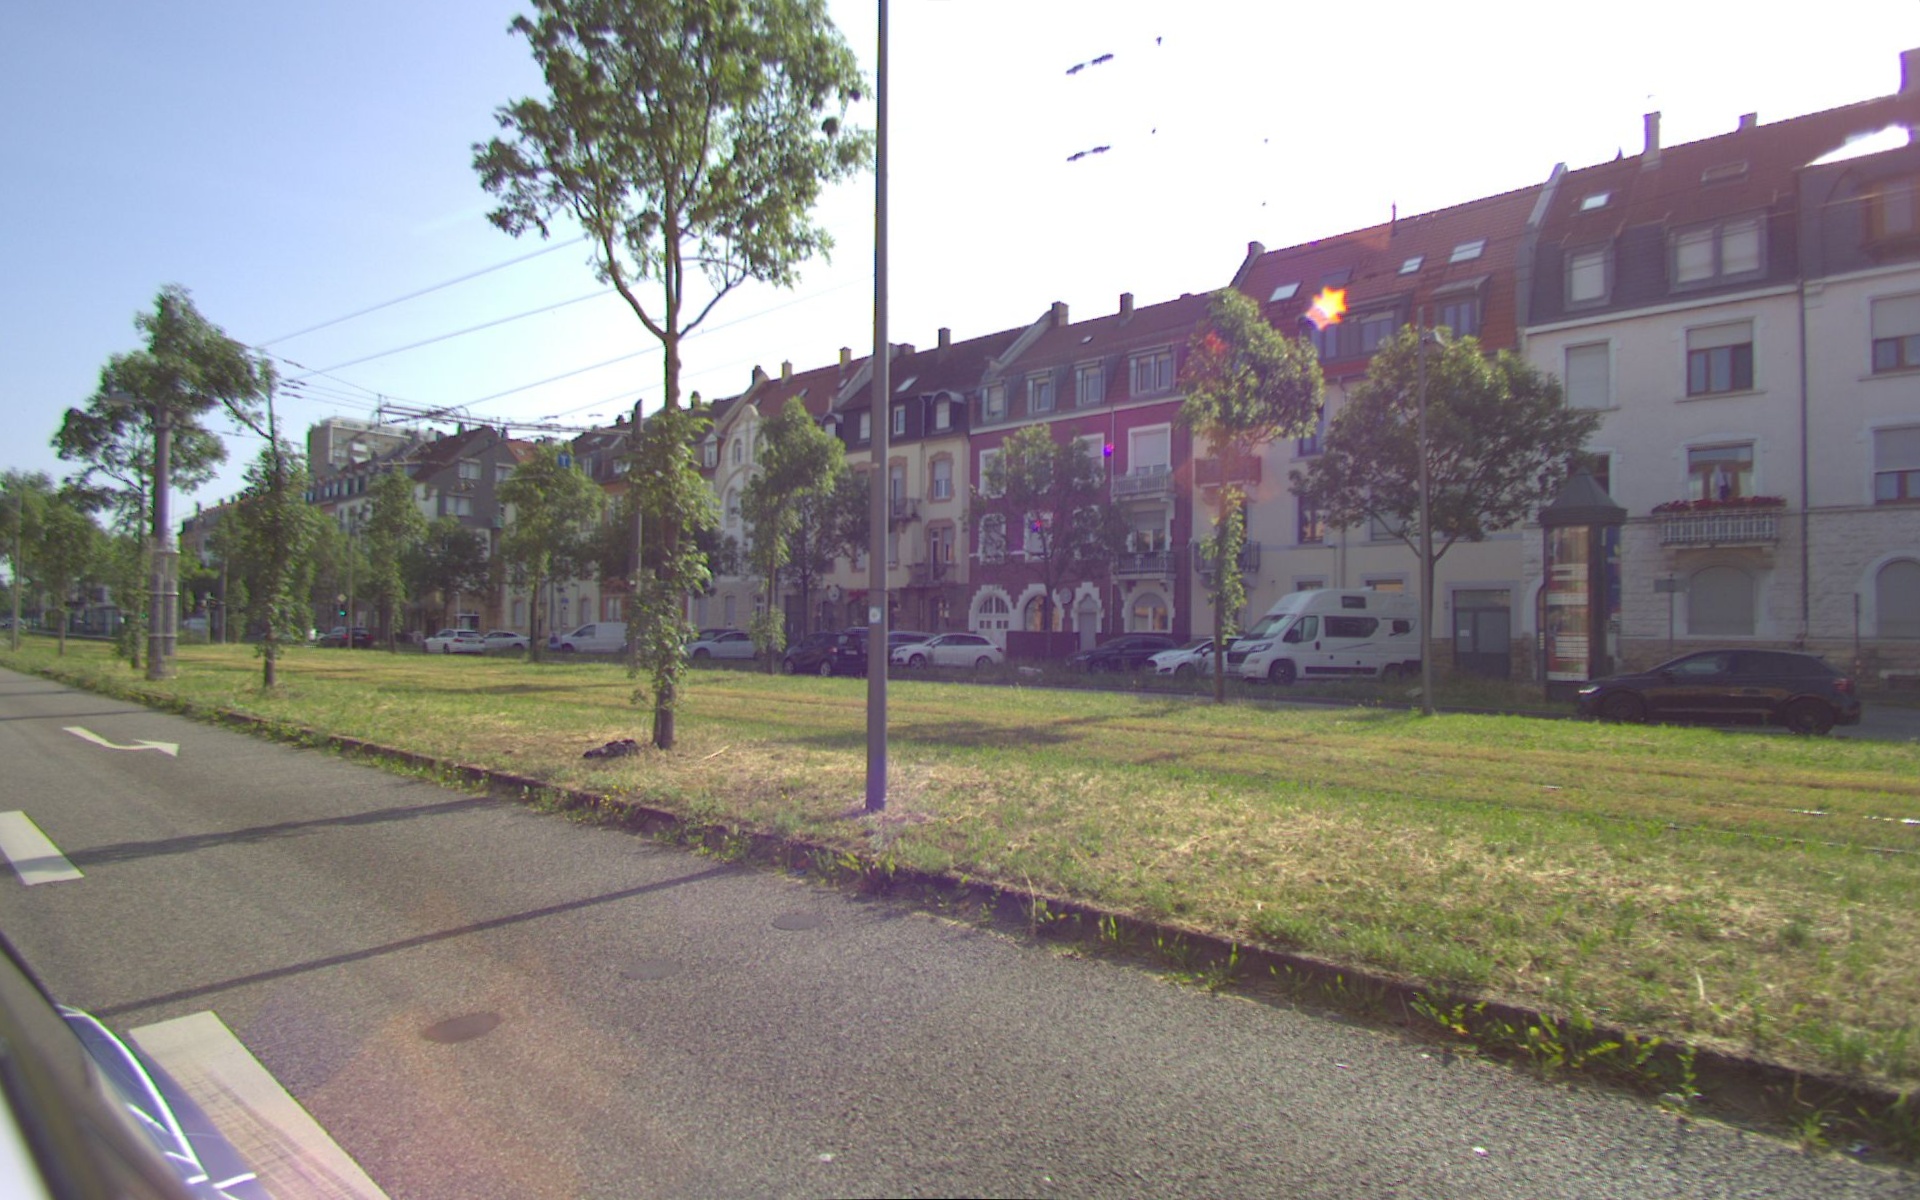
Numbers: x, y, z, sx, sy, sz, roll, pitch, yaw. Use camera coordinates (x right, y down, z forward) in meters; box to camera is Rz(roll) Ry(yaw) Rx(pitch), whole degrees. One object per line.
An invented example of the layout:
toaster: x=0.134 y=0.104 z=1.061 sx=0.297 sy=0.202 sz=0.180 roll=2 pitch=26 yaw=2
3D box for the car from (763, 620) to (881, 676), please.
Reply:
car: x=-4.579 y=1.517 z=33.312 sx=4.001 sy=1.668 sz=1.745 roll=0 pitch=0 yaw=44

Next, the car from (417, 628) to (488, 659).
car: x=-26.944 y=2.283 z=53.651 sx=4.650 sy=1.470 sz=1.926 roll=0 pitch=0 yaw=44

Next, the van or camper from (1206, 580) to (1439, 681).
van or camper: x=10.052 y=0.774 z=28.179 sx=5.827 sy=2.593 sz=2.205 roll=-1 pitch=0 yaw=-14

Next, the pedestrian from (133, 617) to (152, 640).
pedestrian: x=-61.795 y=2.165 z=76.492 sx=0.852 sy=1.667 sz=0.875 roll=0 pitch=-2 yaw=39

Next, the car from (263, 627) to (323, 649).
car: x=-57.965 y=3.272 z=88.004 sx=3.933 sy=1.739 sz=2.005 roll=-1 pitch=0 yaw=-14

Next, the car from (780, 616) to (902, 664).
car: x=-4.816 y=1.569 z=41.006 sx=4.567 sy=1.756 sz=1.840 roll=-1 pitch=0 yaw=-24

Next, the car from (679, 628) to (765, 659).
car: x=-10.611 y=1.933 z=45.160 sx=3.625 sy=1.251 sz=1.667 roll=-1 pitch=0 yaw=-14

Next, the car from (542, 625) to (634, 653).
car: x=-20.727 y=2.163 z=56.526 sx=4.621 sy=1.358 sz=1.862 roll=-1 pitch=0 yaw=-14

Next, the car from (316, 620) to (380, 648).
car: x=-39.411 y=2.159 z=65.155 sx=5.377 sy=1.642 sz=1.973 roll=0 pitch=0 yaw=41

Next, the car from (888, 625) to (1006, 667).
car: x=-0.482 y=1.636 z=36.498 sx=3.947 sy=1.326 sz=1.667 roll=-1 pitch=0 yaw=-14

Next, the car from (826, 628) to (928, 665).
car: x=-3.155 y=1.732 z=38.418 sx=3.625 sy=1.251 sz=1.667 roll=-1 pitch=0 yaw=-14

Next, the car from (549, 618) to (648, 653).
car: x=-19.395 y=1.887 z=54.489 sx=4.869 sy=1.739 sz=1.862 roll=-1 pitch=0 yaw=-14

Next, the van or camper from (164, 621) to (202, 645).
van or camper: x=-74.743 y=3.137 z=97.304 sx=5.350 sy=2.113 sz=1.931 roll=0 pitch=0 yaw=41

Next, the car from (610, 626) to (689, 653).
car: x=-15.256 y=1.956 z=49.837 sx=3.625 sy=1.251 sz=1.530 roll=-1 pitch=-2 yaw=-14

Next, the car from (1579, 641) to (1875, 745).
car: x=13.153 y=1.503 z=17.525 sx=3.924 sy=1.444 sz=1.793 roll=0 pitch=0 yaw=41

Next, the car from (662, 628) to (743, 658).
car: x=-12.037 y=2.003 z=47.404 sx=3.625 sy=1.251 sz=1.667 roll=-1 pitch=1 yaw=-14

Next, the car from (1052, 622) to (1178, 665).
car: x=4.948 y=1.378 z=32.450 sx=3.628 sy=1.251 sz=1.665 roll=-1 pitch=0 yaw=-9

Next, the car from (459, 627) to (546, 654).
car: x=-28.561 y=2.533 z=63.287 sx=4.696 sy=1.496 sz=2.029 roll=-1 pitch=0 yaw=-16

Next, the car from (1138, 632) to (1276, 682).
car: x=7.405 y=1.683 z=30.433 sx=3.625 sy=1.341 sz=1.667 roll=-1 pitch=0 yaw=-14
